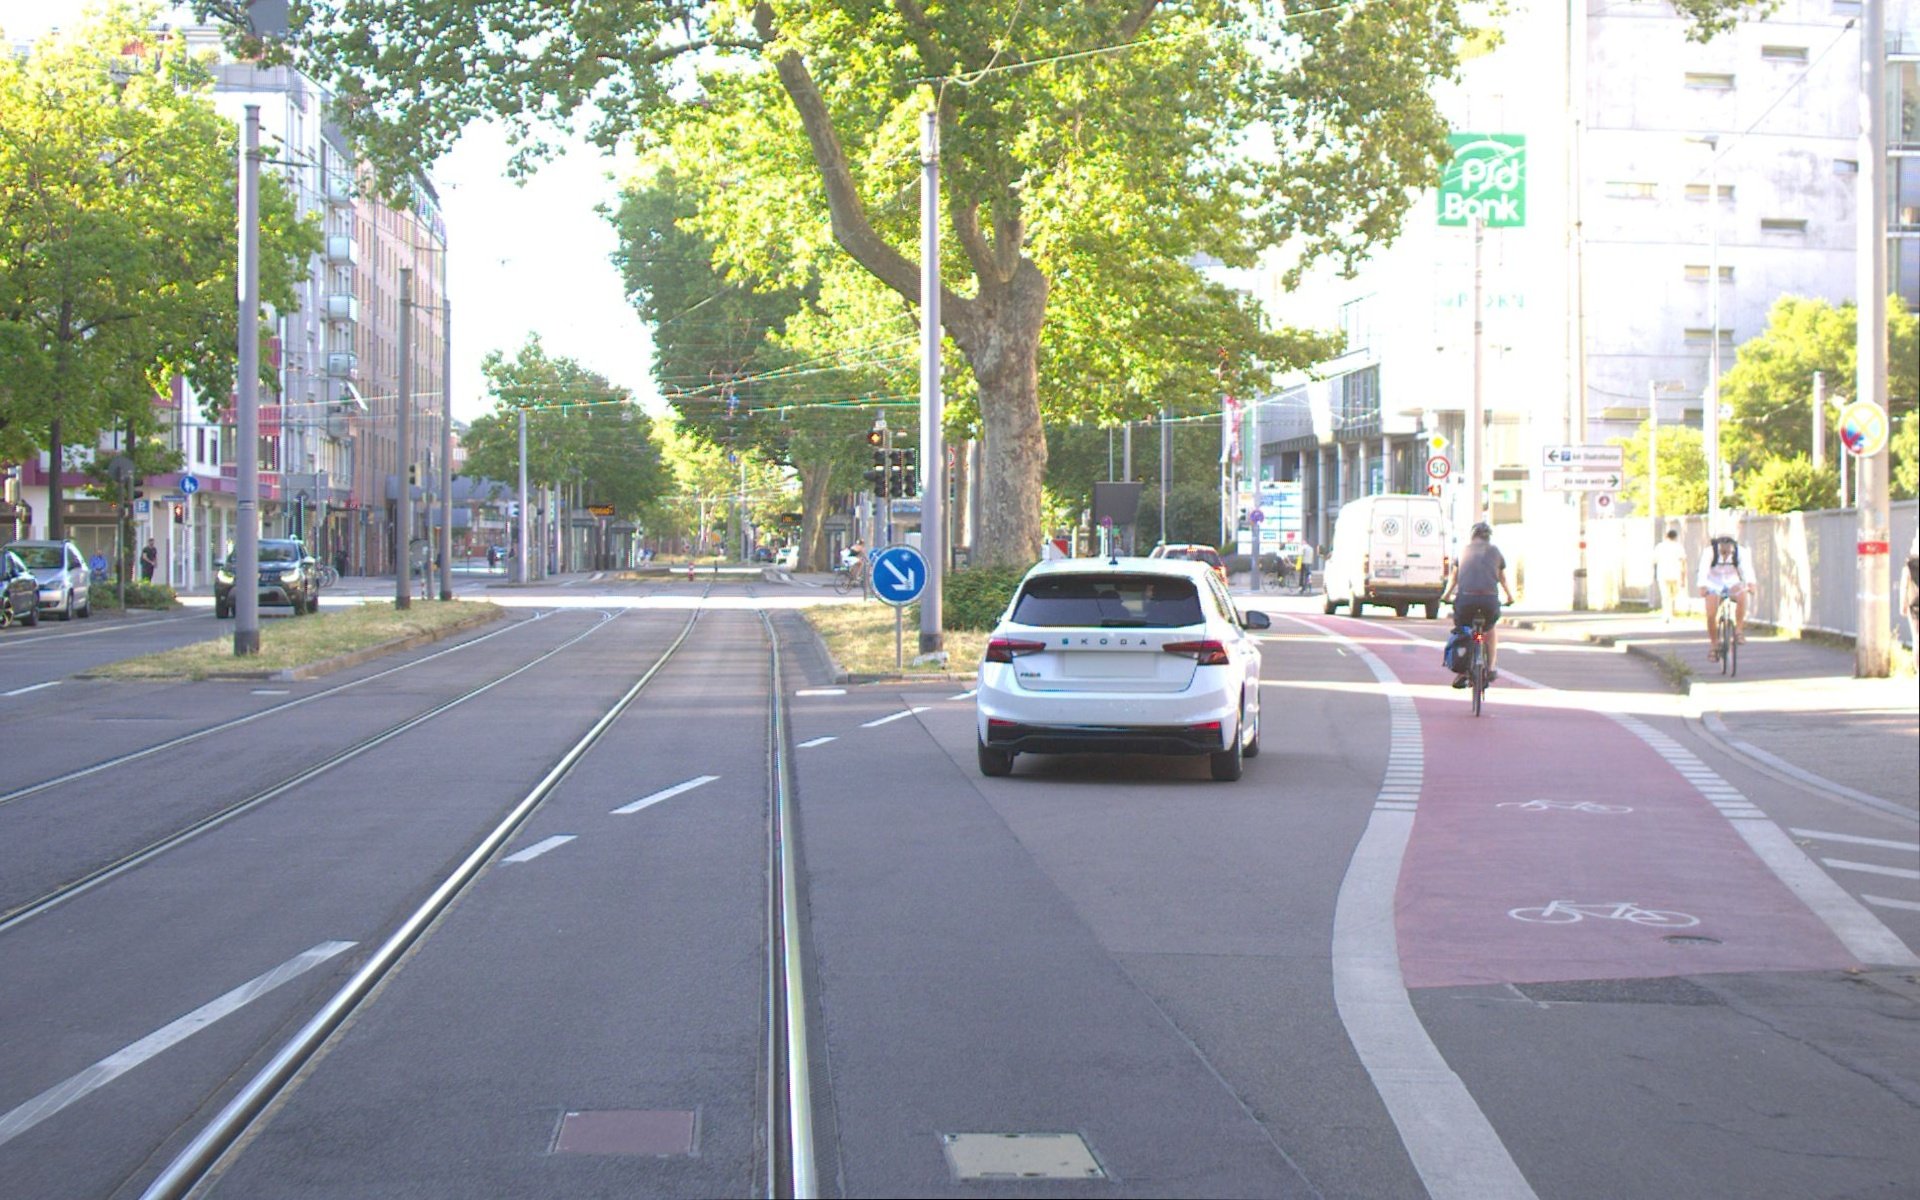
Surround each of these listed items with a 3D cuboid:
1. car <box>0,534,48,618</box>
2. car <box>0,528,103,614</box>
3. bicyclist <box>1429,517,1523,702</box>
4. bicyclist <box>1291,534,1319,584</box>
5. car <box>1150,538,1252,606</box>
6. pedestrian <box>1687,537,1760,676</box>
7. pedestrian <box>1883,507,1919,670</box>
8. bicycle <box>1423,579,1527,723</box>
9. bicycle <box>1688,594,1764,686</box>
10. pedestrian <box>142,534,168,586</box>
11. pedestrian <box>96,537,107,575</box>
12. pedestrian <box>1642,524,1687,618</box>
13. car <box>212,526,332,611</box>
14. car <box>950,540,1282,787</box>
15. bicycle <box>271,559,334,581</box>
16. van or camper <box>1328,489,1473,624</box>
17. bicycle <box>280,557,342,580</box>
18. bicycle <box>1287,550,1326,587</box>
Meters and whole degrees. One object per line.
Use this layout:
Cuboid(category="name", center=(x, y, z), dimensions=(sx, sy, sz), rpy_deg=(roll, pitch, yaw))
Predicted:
Cuboid(category="car", center=(-17.851, -0.463, 61.998), dimensions=(1.993, 1.471, 4.651), rpy_deg=(0, 1, -6))
Cuboid(category="car", center=(-18.527, -0.608, 68.989), dimensions=(1.993, 1.683, 4.179), rpy_deg=(0, 1, -6))
Cuboid(category="bicyclist", center=(4.756, 0.076, 31.704), dimensions=(0.743, 1.663, 0.745), rpy_deg=(2, 1, 4))
Cuboid(category="bicyclist", center=(11.162, -1.328, 111.160), dimensions=(0.785, 1.629, 0.639), rpy_deg=(0, 1, -6))
Cuboid(category="car", center=(5.400, -0.651, 77.482), dimensions=(1.839, 1.484, 3.717), rpy_deg=(0, 1, -3))
Cuboid(category="pedestrian", center=(9.162, 0.068, 41.289), dimensions=(0.669, 1.613, 1.102), rpy_deg=(-2, 1, 6))
Cuboid(category="pedestrian", center=(10.084, -0.126, 35.859), dimensions=(0.697, 1.678, 0.929), rpy_deg=(1, 1, 28))
Cuboid(category="bicycle", center=(4.738, 0.450, 31.743), dimensions=(0.744, 1.220, 2.156), rpy_deg=(2, 1, 4))
Cuboid(category="bicycle", center=(9.169, 0.468, 41.219), dimensions=(0.675, 1.028, 1.900), rpy_deg=(-2, 1, 7))
Cuboid(category="pedestrian", center=(-25.832, -1.296, 110.291), dimensions=(0.708, 1.657, 1.034), rpy_deg=(-1, 1, -8))
Cuboid(category="pedestrian", center=(-27.881, -1.432, 111.663), dimensions=(0.303, 1.209, 0.319), rpy_deg=(-1, 1, -8))
Cuboid(category="pedestrian", center=(13.158, -0.541, 64.242), dimensions=(0.786, 1.742, 0.772), rpy_deg=(0, 1, 9))
Cuboid(category="car", center=(-14.058, -0.675, 70.427), dimensions=(1.993, 1.683, 4.311), rpy_deg=(0, 1, -6))
Cuboid(category="car", center=(1.148, 0.364, 23.432), dimensions=(1.802, 1.496, 3.980), rpy_deg=(1, 1, 9))
Cuboid(category="bicycle", center=(-23.408, -1.074, 122.361), dimensions=(2.169, 0.784, 0.492), rpy_deg=(0, 1, -6))
Cuboid(category="van or camper", center=(9.547, -0.972, 75.064), dimensions=(2.269, 2.724, 6.347), rpy_deg=(3, 1, 1))
Cuboid(category="bicycle", center=(-23.352, -1.121, 123.723), dimensions=(2.169, 0.821, 0.528), rpy_deg=(0, 1, -6))
Cuboid(category="bicycle", center=(11.171, -1.031, 111.009), dimensions=(0.792, 1.157, 2.500), rpy_deg=(0, 1, -5))
